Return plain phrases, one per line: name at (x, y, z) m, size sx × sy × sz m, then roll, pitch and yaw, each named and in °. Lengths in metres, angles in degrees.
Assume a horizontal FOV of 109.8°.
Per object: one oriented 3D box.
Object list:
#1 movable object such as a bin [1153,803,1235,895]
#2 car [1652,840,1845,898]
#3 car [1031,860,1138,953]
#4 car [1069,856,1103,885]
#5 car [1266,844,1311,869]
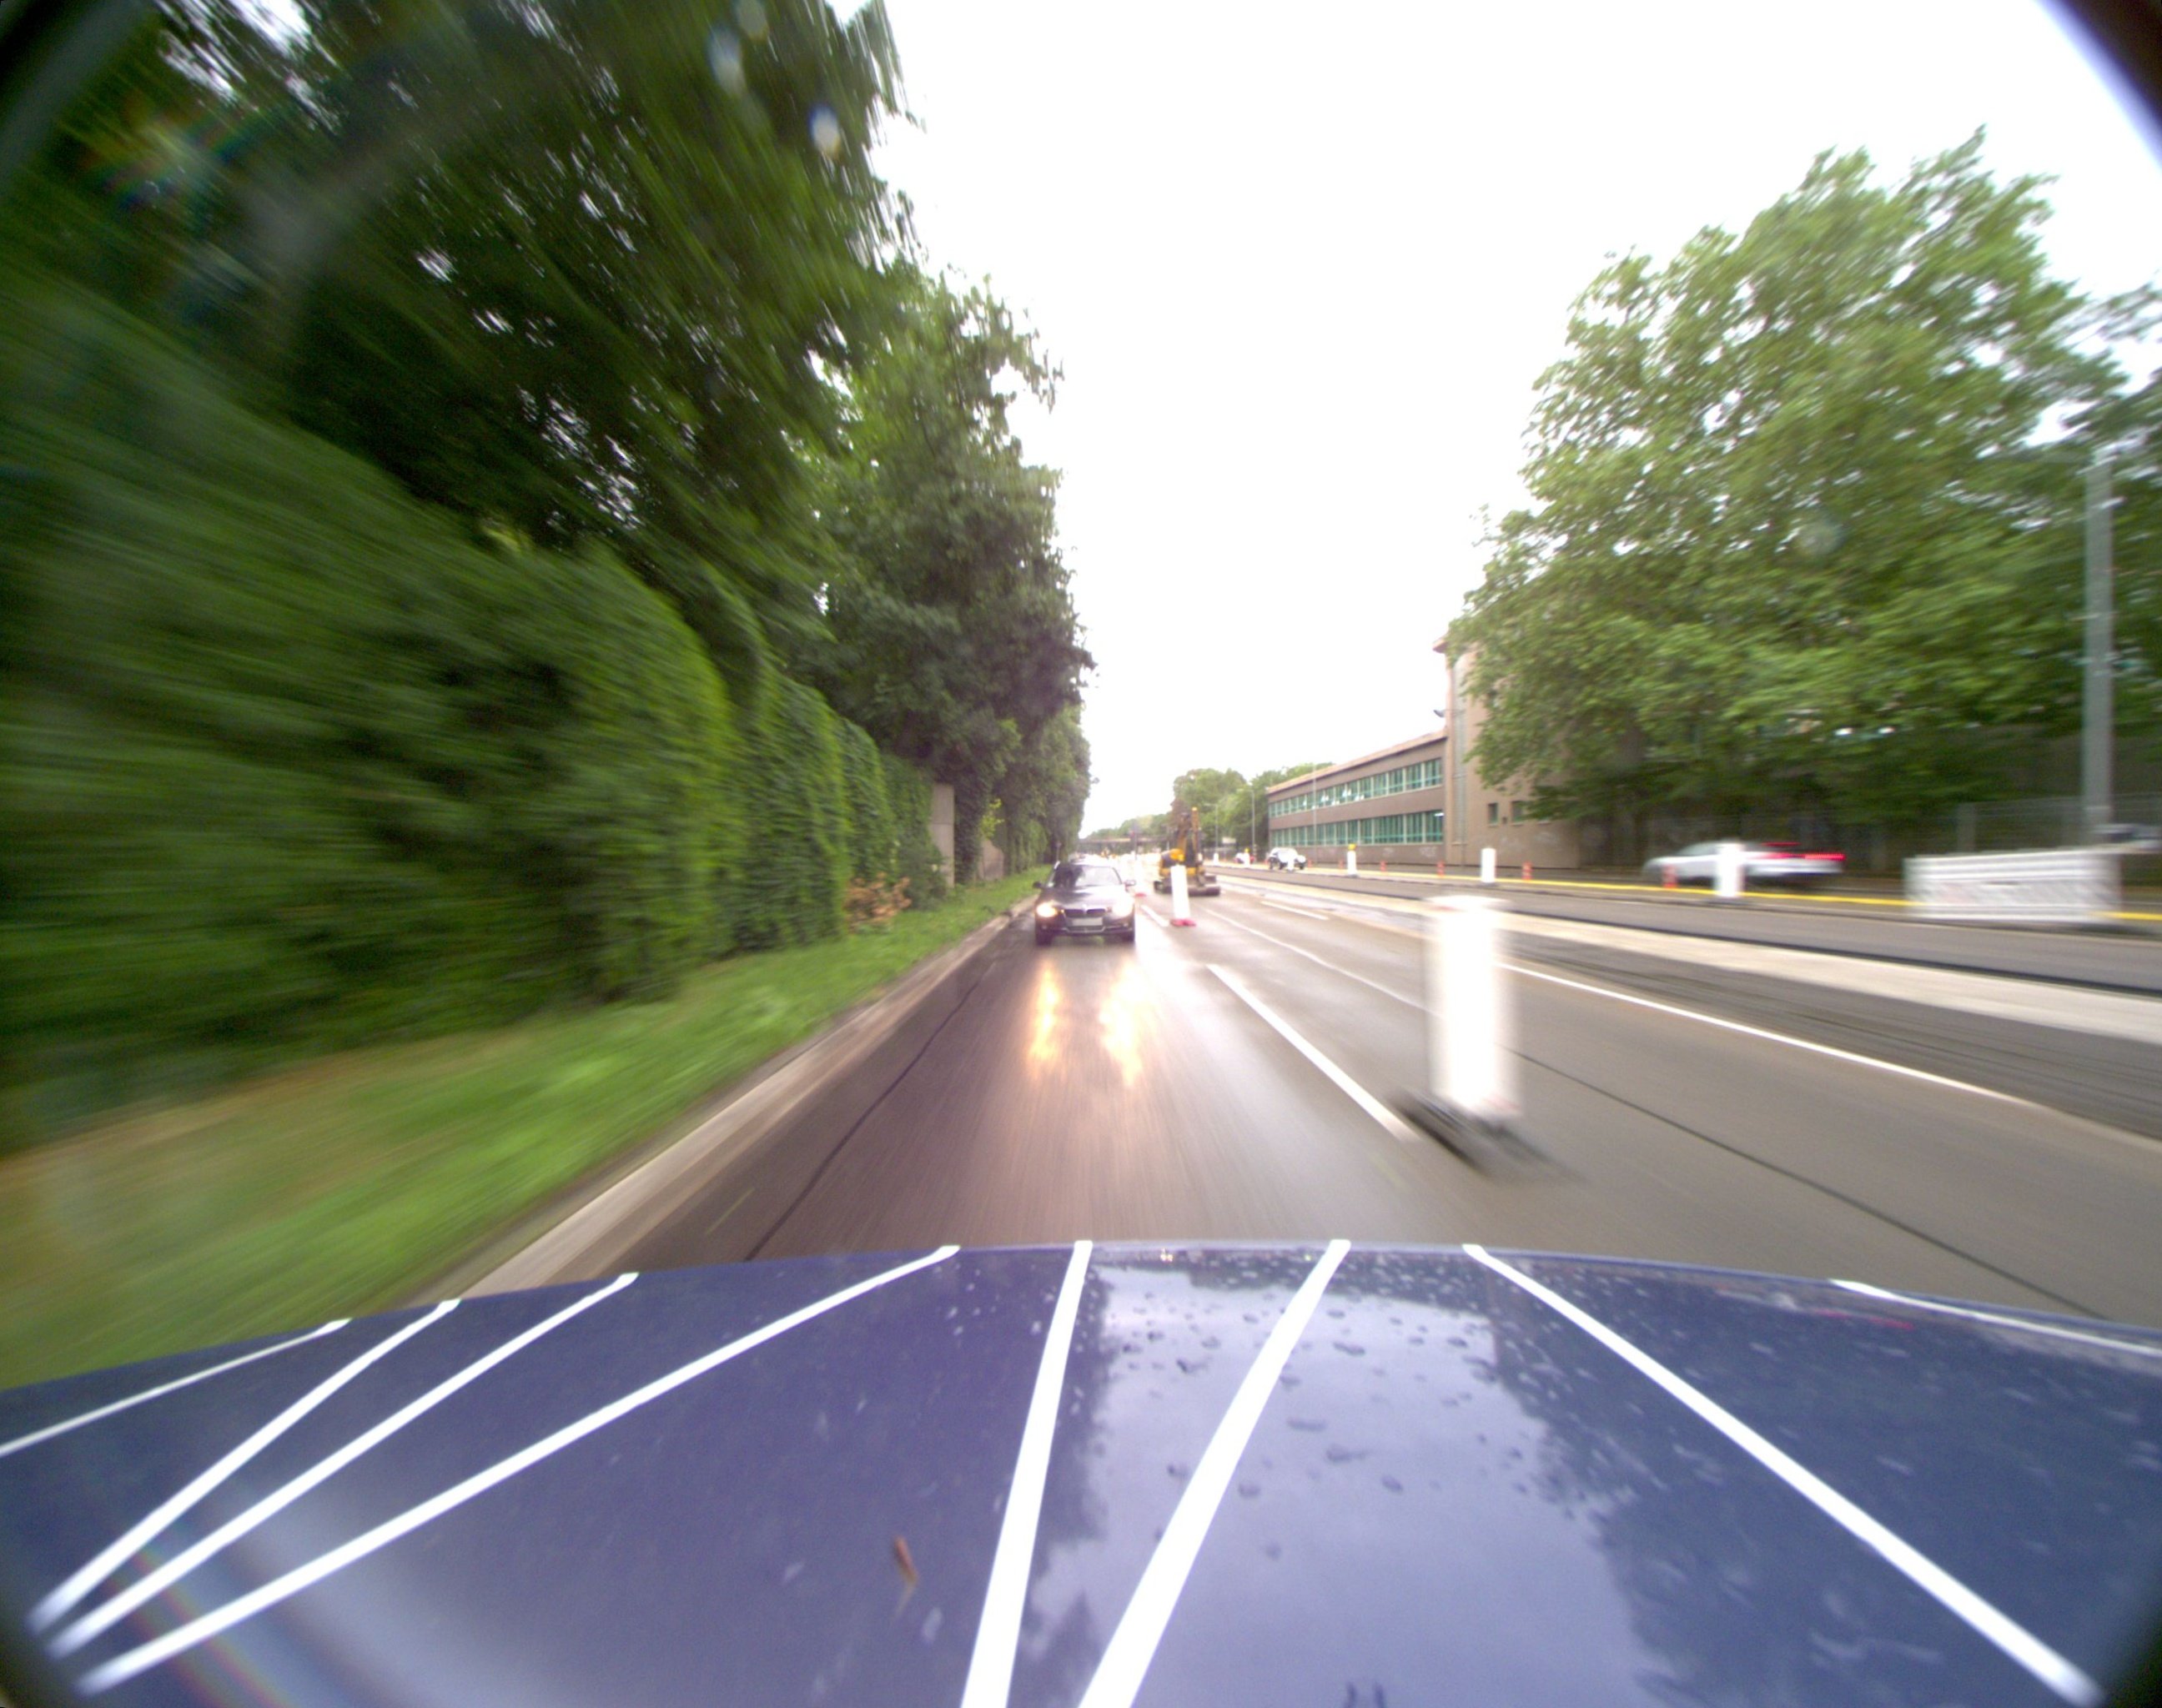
movable object such as a bin at (4.127, -0.184, 28.719) m, size 1.999 × 3.084 × 5.622 m, roll -1°, pitch 1°, yaw -2°
car at (18.597, 0.363, 21.467) m, size 1.841 × 1.426 × 4.148 m, roll -1°, pitch 1°, yaw 0°
car at (0.215, 0.914, 14.999) m, size 1.742 × 1.454 × 4.459 m, roll -1°, pitch 1°, yaw 5°
car at (0.316, 0.868, 42.236) m, size 1.742 × 1.454 × 4.458 m, roll -1°, pitch 1°, yaw 1°
car at (15.791, 0.204, 58.008) m, size 1.999 × 1.695 × 4.984 m, roll 3°, pitch -1°, yaw 0°
